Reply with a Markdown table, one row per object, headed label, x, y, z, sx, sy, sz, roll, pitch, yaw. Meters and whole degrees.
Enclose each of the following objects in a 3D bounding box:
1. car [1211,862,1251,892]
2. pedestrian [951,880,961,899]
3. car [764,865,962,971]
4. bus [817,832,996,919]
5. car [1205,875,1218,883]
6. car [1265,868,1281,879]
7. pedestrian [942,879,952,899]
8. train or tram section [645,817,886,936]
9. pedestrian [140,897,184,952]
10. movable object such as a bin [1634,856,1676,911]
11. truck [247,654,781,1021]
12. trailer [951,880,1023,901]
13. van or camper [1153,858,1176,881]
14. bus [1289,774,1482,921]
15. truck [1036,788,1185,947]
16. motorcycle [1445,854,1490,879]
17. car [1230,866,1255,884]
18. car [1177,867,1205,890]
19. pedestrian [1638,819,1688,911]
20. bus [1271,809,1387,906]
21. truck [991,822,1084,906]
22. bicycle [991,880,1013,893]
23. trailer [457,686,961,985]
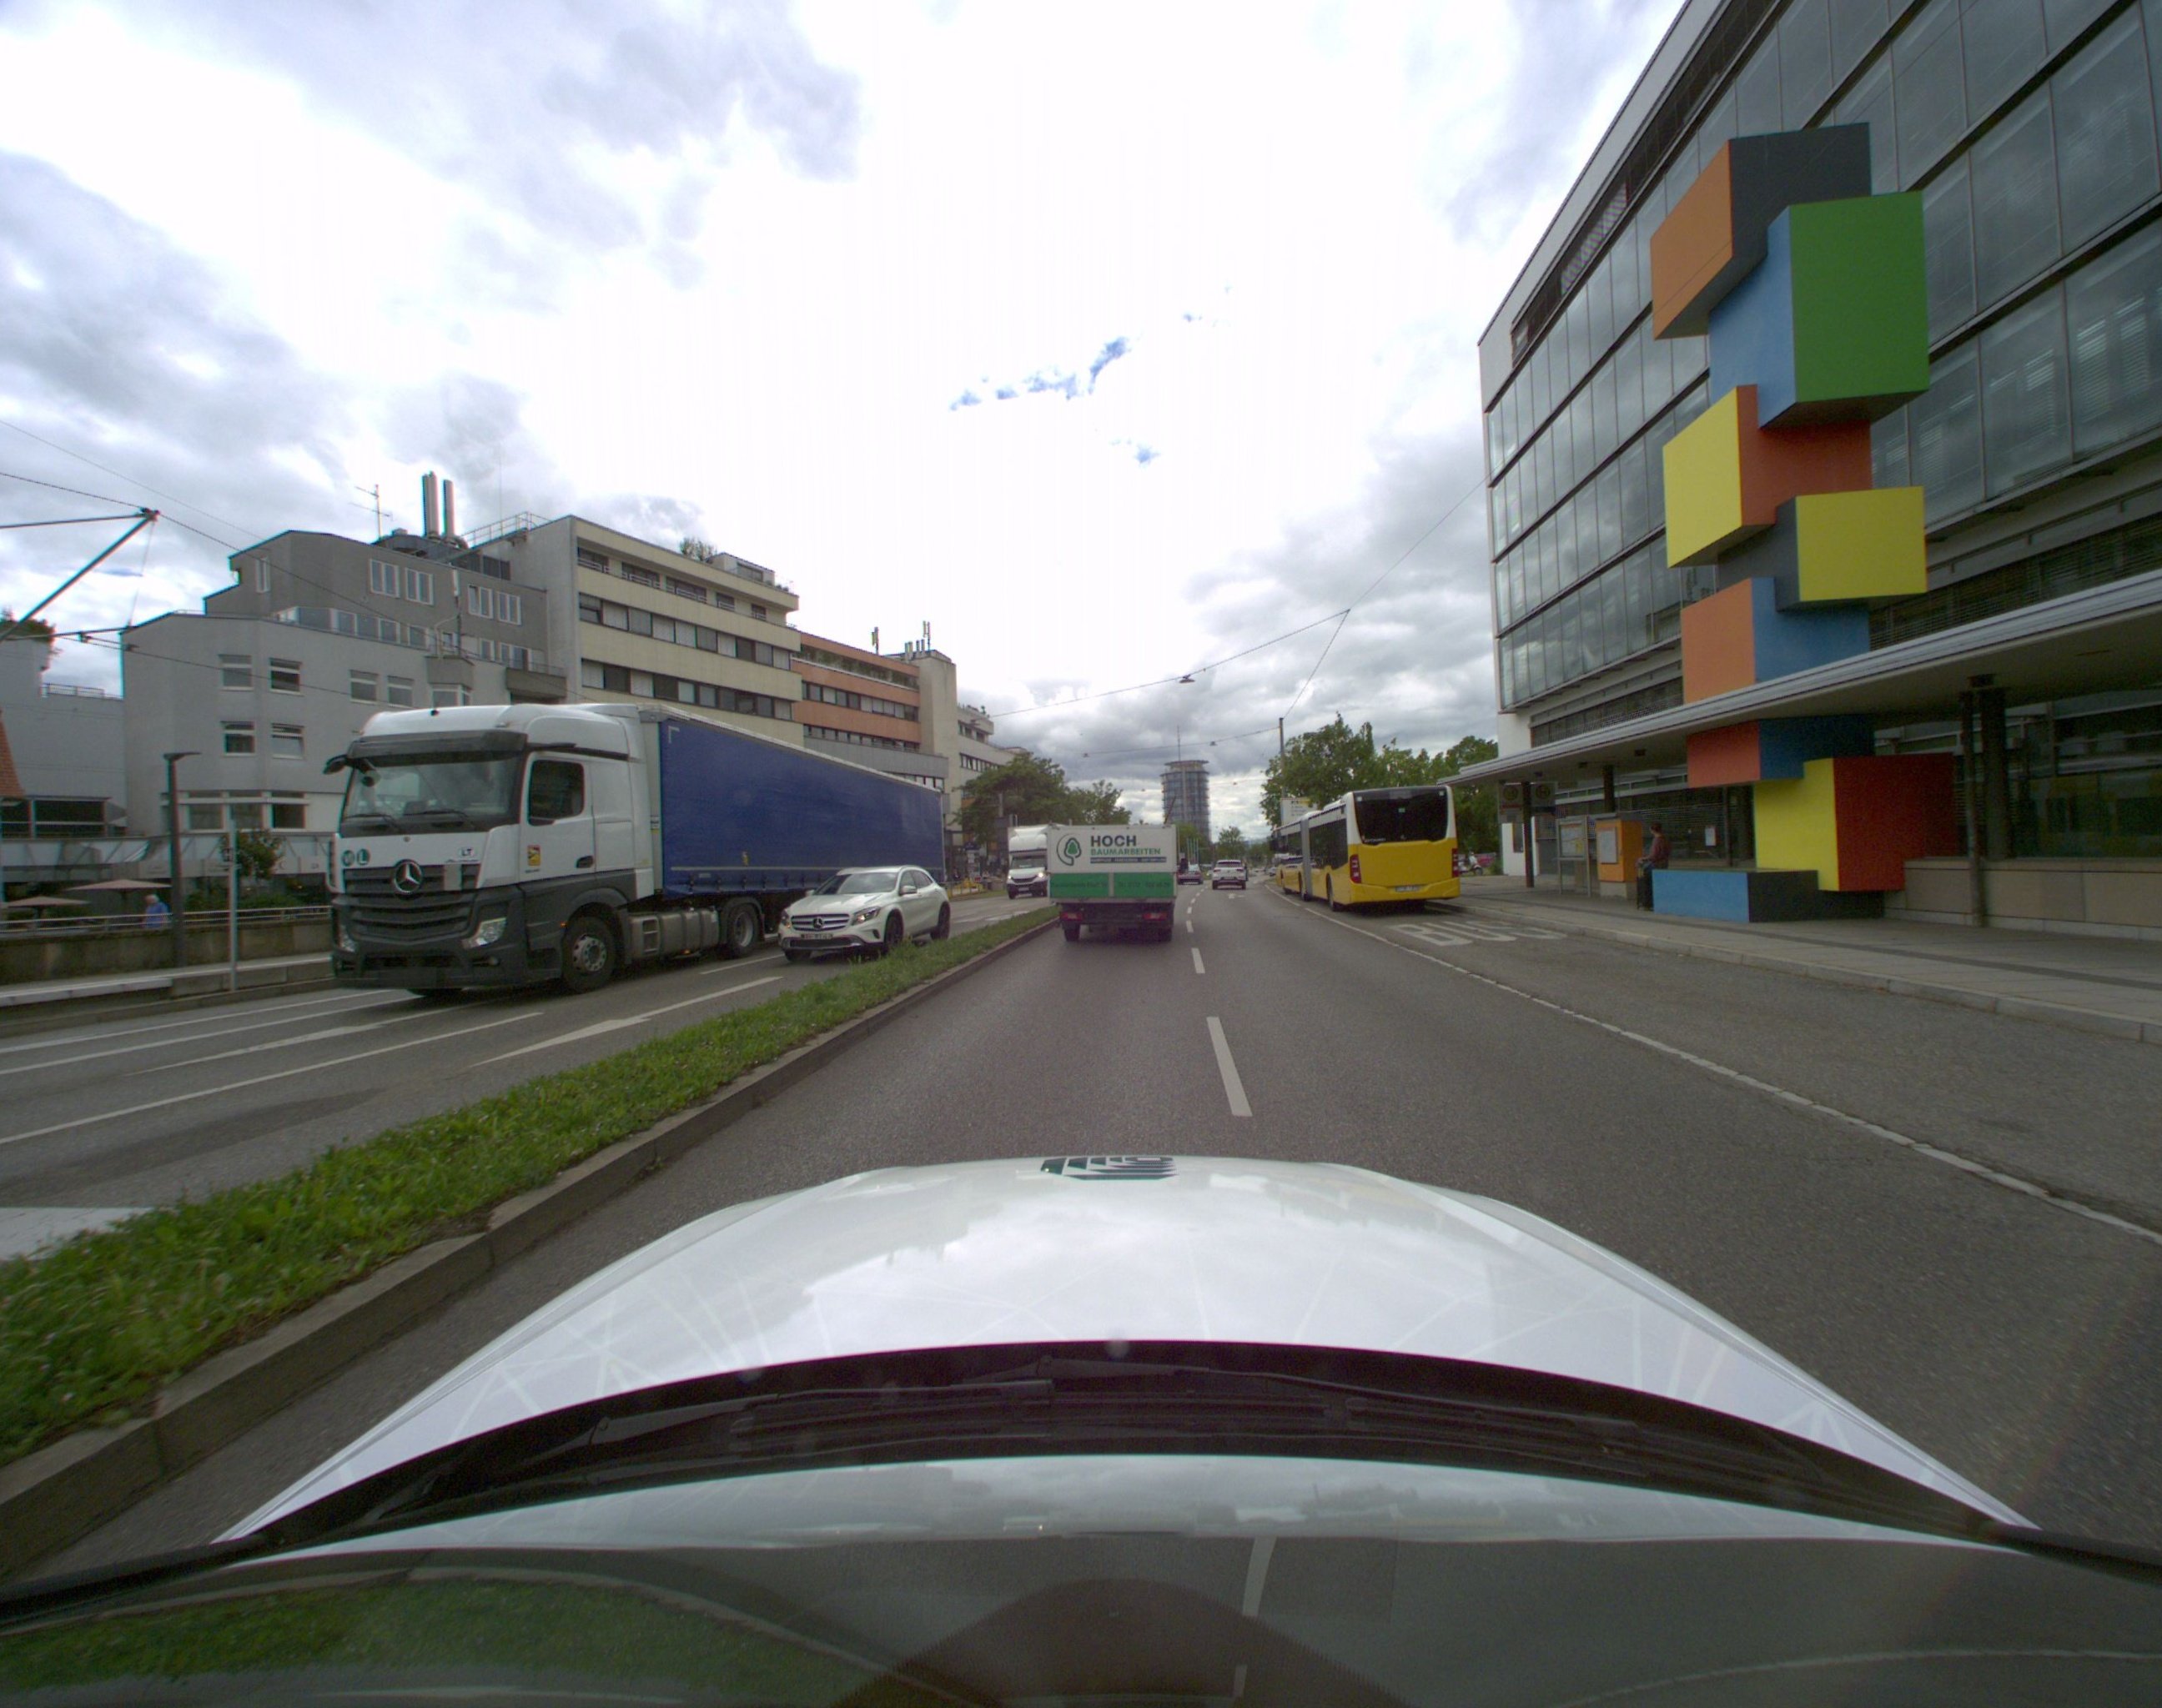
| label | x | y | z | sx | sy | sz | roll | pitch | yaw |
| --- | --- | --- | --- | --- | --- | --- | --- | --- | --- |
| car | 8.148 | 1.238 | 44.589 | 1.857 | 1.505 | 4.783 | -2 | -1 | 8 |
| pedestrian | -10.223 | 2.904 | 66.815 | 0.595 | 1.574 | 0.622 | -3 | -2 | 8 |
| car | -3.651 | 1.010 | 14.553 | 1.776 | 1.516 | 4.374 | -3 | -1 | 8 |
| bus | -9.098 | 1.246 | 47.366 | 3.856 | 3.860 | 19.377 | -3 | -2 | 7 |
| car | 27.218 | 5.222 | 169.420 | 1.977 | 1.486 | 4.018 | -3 | -3 | 18 |
| car | 28.767 | 2.987 | 122.066 | 1.981 | 1.552 | 4.011 | -3 | -3 | 11 |
| pedestrian | -11.011 | 2.881 | 66.930 | 0.595 | 1.574 | 0.622 | -3 | -2 | 8 |
| train or tram section | -11.220 | 0.779 | 31.098 | 2.741 | 3.585 | 12.032 | -2 | -1 | 9 |
| pedestrian | -27.863 | 2.132 | 24.697 | 0.643 | 1.583 | 0.704 | -3 | -1 | 22 |
| movable object such as a bin | 11.006 | 0.561 | 15.634 | 0.418 | 1.029 | 0.534 | -2 | -1 | 6 |
| truck | -7.636 | -0.133 | 12.284 | 3.073 | 4.022 | 6.170 | -3 | -1 | 8 |
| trailer | -7.276 | 2.823 | 65.001 | 2.825 | 1.333 | 12.149 | -3 | -2 | 7 |
| van or camper | 10.315 | 1.893 | 100.601 | 1.980 | 2.598 | 6.135 | -4 | -2 | 12 |
| bus | 8.186 | -0.040 | 23.432 | 3.019 | 3.236 | 9.357 | -3 | -2 | 8 |
| truck | 0.840 | 0.284 | 16.970 | 2.458 | 2.611 | 6.558 | -1 | -1 | 6 |
| motorcycle | 18.258 | 0.601 | 38.526 | 0.826 | 1.115 | 1.727 | -2 | -1 | -26 |
| car | 14.445 | 1.844 | 72.963 | 1.857 | 1.505 | 4.783 | -2 | -1 | 8 |
| car | 7.860 | 1.721 | 58.337 | 1.857 | 1.505 | 4.783 | -2 | -1 | 8 |
| pedestrian | 11.302 | 0.210 | 15.832 | 0.506 | 1.735 | 0.573 | -2 | -1 | 6 |
| bus | 9.473 | 0.225 | 32.268 | 2.965 | 3.241 | 9.888 | 1 | -1 | 9 |
| truck | -2.100 | 0.534 | 43.904 | 2.921 | 3.958 | 9.187 | -2 | -1 | 9 |
| bicycle | -7.781 | 3.181 | 80.220 | 2.026 | 1.161 | 0.667 | -2 | -2 | -33 |
| trailer | -6.650 | -0.196 | 19.363 | 3.084 | 4.269 | 14.882 | -3 | -1 | 9 |
